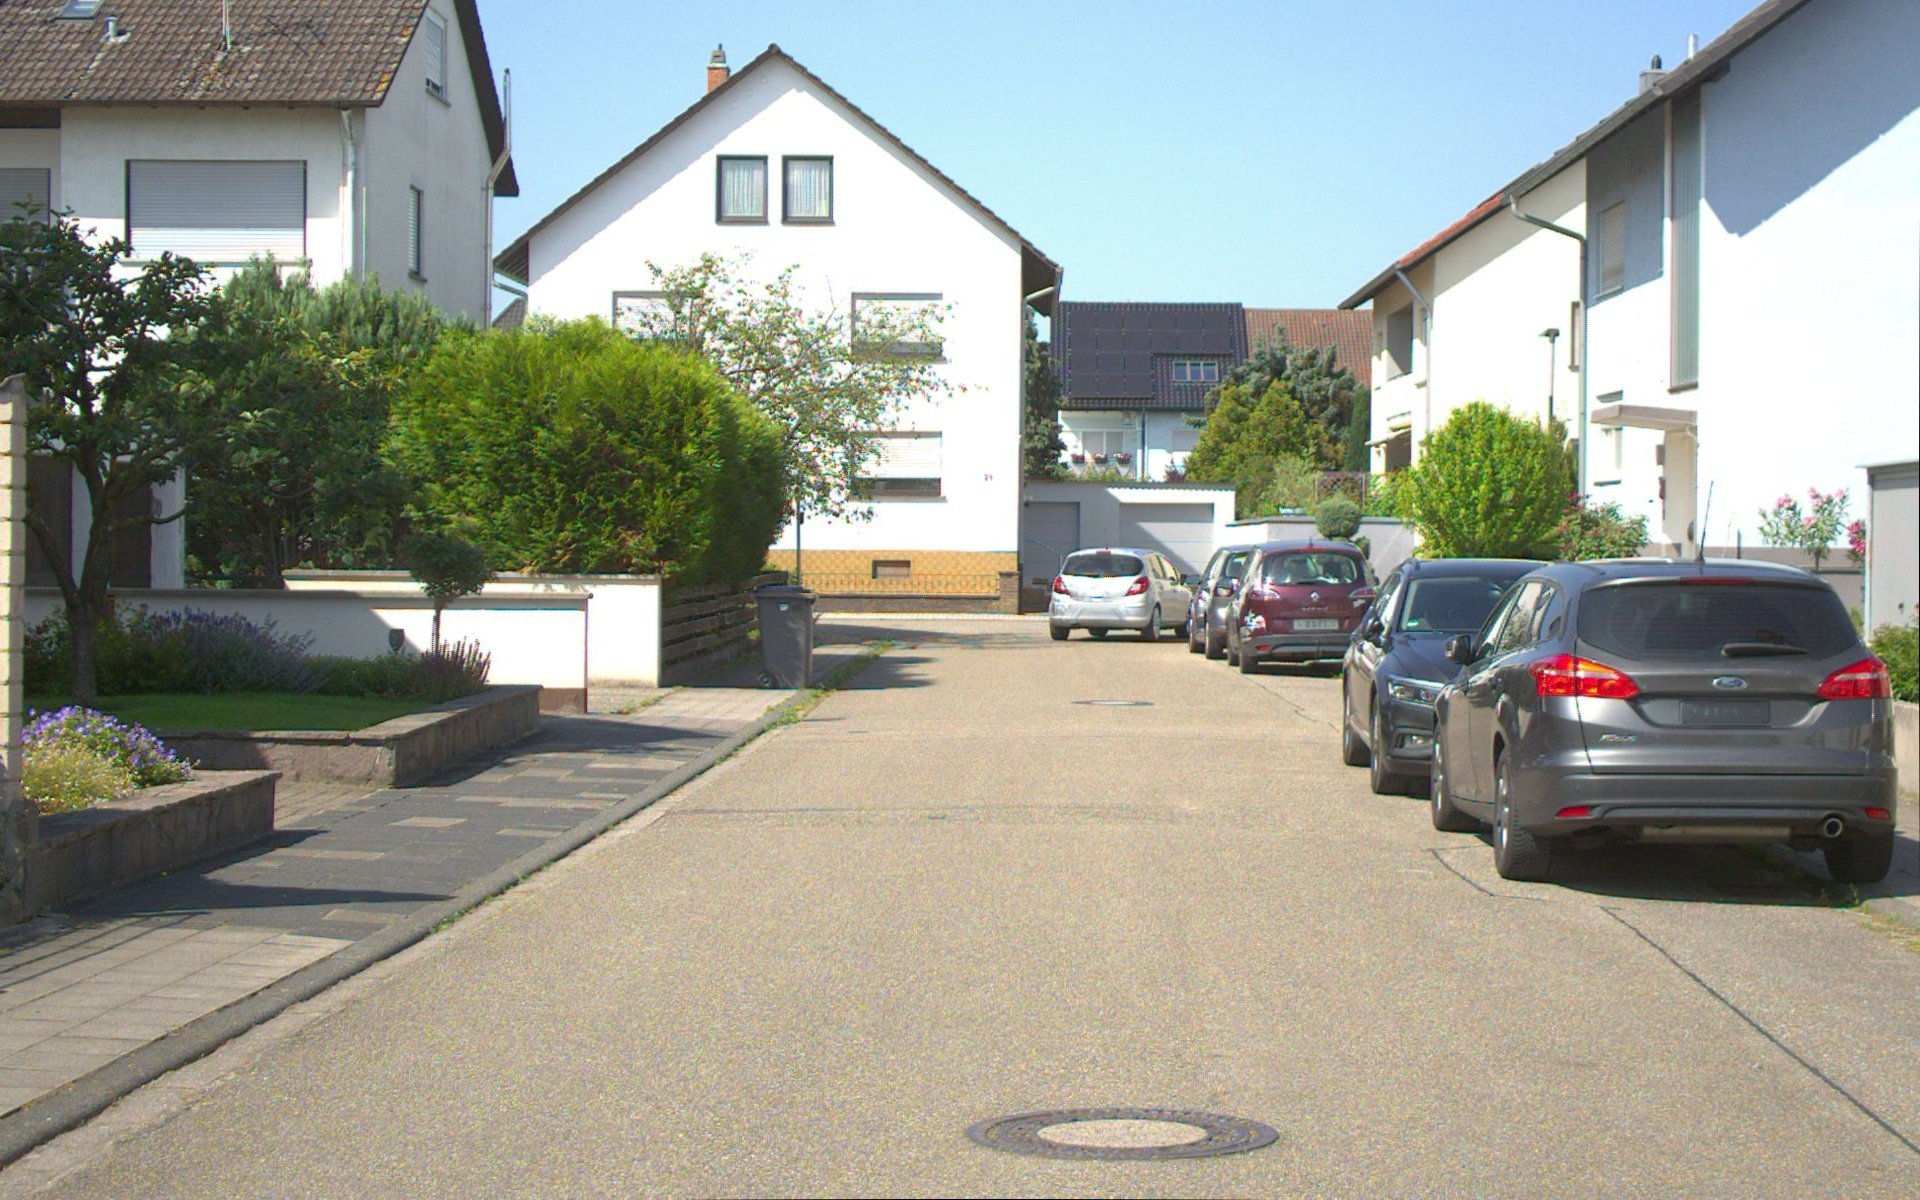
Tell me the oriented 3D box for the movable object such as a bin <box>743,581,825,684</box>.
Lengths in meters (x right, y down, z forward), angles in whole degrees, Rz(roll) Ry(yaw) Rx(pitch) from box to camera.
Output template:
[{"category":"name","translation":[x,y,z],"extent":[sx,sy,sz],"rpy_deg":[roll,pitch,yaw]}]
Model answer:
[{"category":"movable object such as a bin","translation":[-1.834,0.335,35.891],"extent":[0.818,1.060,0.611],"rpy_deg":[0,1,1]}]

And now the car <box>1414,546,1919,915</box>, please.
[{"category":"car","translation":[3.307,0.531,16.822],"extent":[1.642,1.473,4.000],"rpy_deg":[2,2,1]}]

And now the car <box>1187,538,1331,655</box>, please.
[{"category":"car","translation":[4.160,-0.084,48.272],"extent":[1.645,1.540,4.048],"rpy_deg":[0,1,0]}]

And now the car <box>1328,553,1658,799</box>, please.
[{"category":"car","translation":[3.413,0.419,22.729],"extent":[1.717,1.433,4.502],"rpy_deg":[1,1,3]}]

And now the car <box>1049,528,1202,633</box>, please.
[{"category":"car","translation":[2.689,-0.321,55.015],"extent":[1.646,1.576,3.807],"rpy_deg":[2,1,15]}]

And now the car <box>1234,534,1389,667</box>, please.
[{"category":"car","translation":[4.365,-0.038,43.179],"extent":[1.645,1.576,4.147],"rpy_deg":[0,1,2]}]
